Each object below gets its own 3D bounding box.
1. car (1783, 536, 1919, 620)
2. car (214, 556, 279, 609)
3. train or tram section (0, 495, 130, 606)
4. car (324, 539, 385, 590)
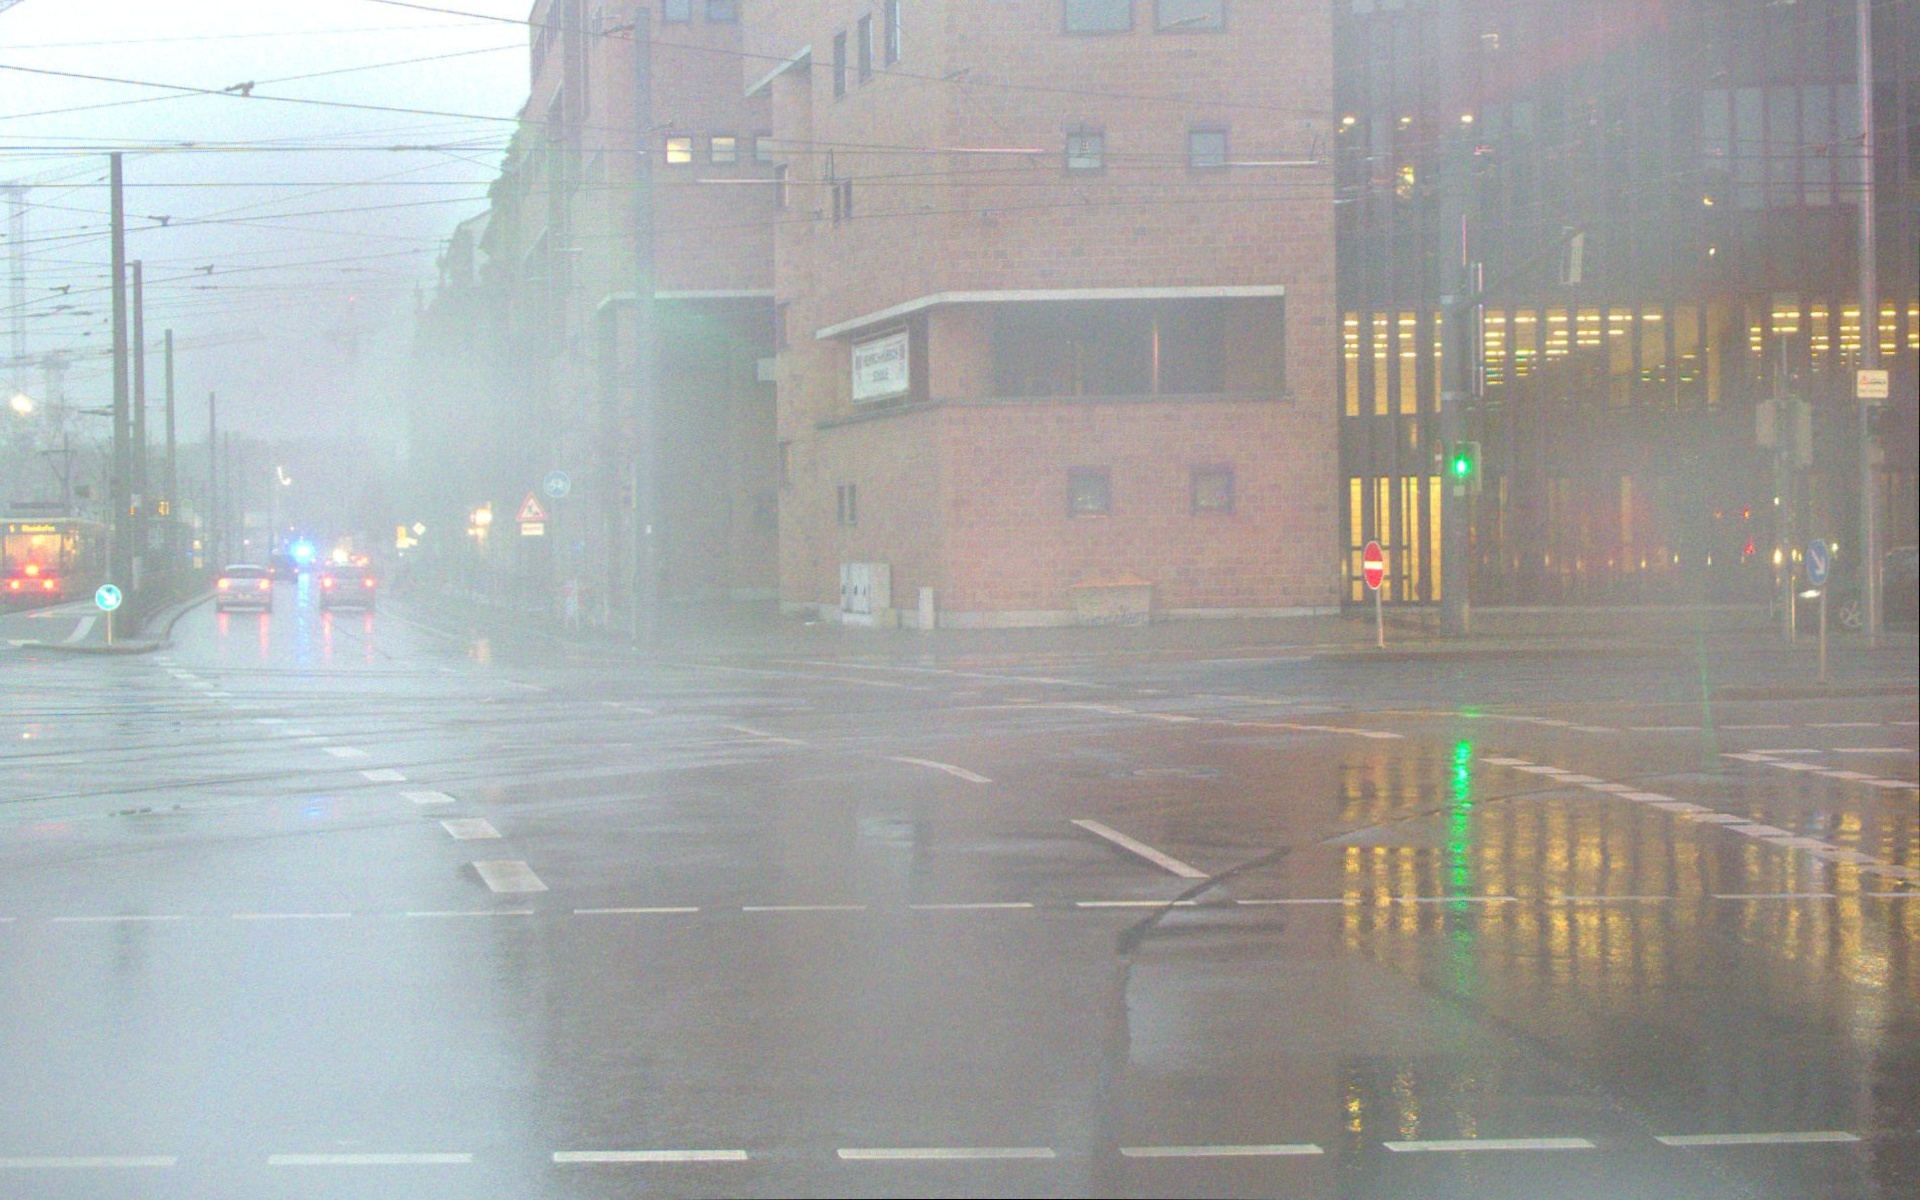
[{"bbox_3d":[15.694,-0.390,56.039,3.986,1.305,2.000,-1,1,-4],"label":"car"},{"bbox_3d":[-22.510,-0.567,108.546,1.870,1.573,4.001,1,1,-10],"label":"car"},{"bbox_3d":[-31.831,-1.729,121.550,3.190,3.424,27.839,-1,1,-10],"label":"train or tram section"},{"bbox_3d":[-20.017,-1.189,113.740,1.870,1.573,4.001,1,1,-9],"label":"car"}]
